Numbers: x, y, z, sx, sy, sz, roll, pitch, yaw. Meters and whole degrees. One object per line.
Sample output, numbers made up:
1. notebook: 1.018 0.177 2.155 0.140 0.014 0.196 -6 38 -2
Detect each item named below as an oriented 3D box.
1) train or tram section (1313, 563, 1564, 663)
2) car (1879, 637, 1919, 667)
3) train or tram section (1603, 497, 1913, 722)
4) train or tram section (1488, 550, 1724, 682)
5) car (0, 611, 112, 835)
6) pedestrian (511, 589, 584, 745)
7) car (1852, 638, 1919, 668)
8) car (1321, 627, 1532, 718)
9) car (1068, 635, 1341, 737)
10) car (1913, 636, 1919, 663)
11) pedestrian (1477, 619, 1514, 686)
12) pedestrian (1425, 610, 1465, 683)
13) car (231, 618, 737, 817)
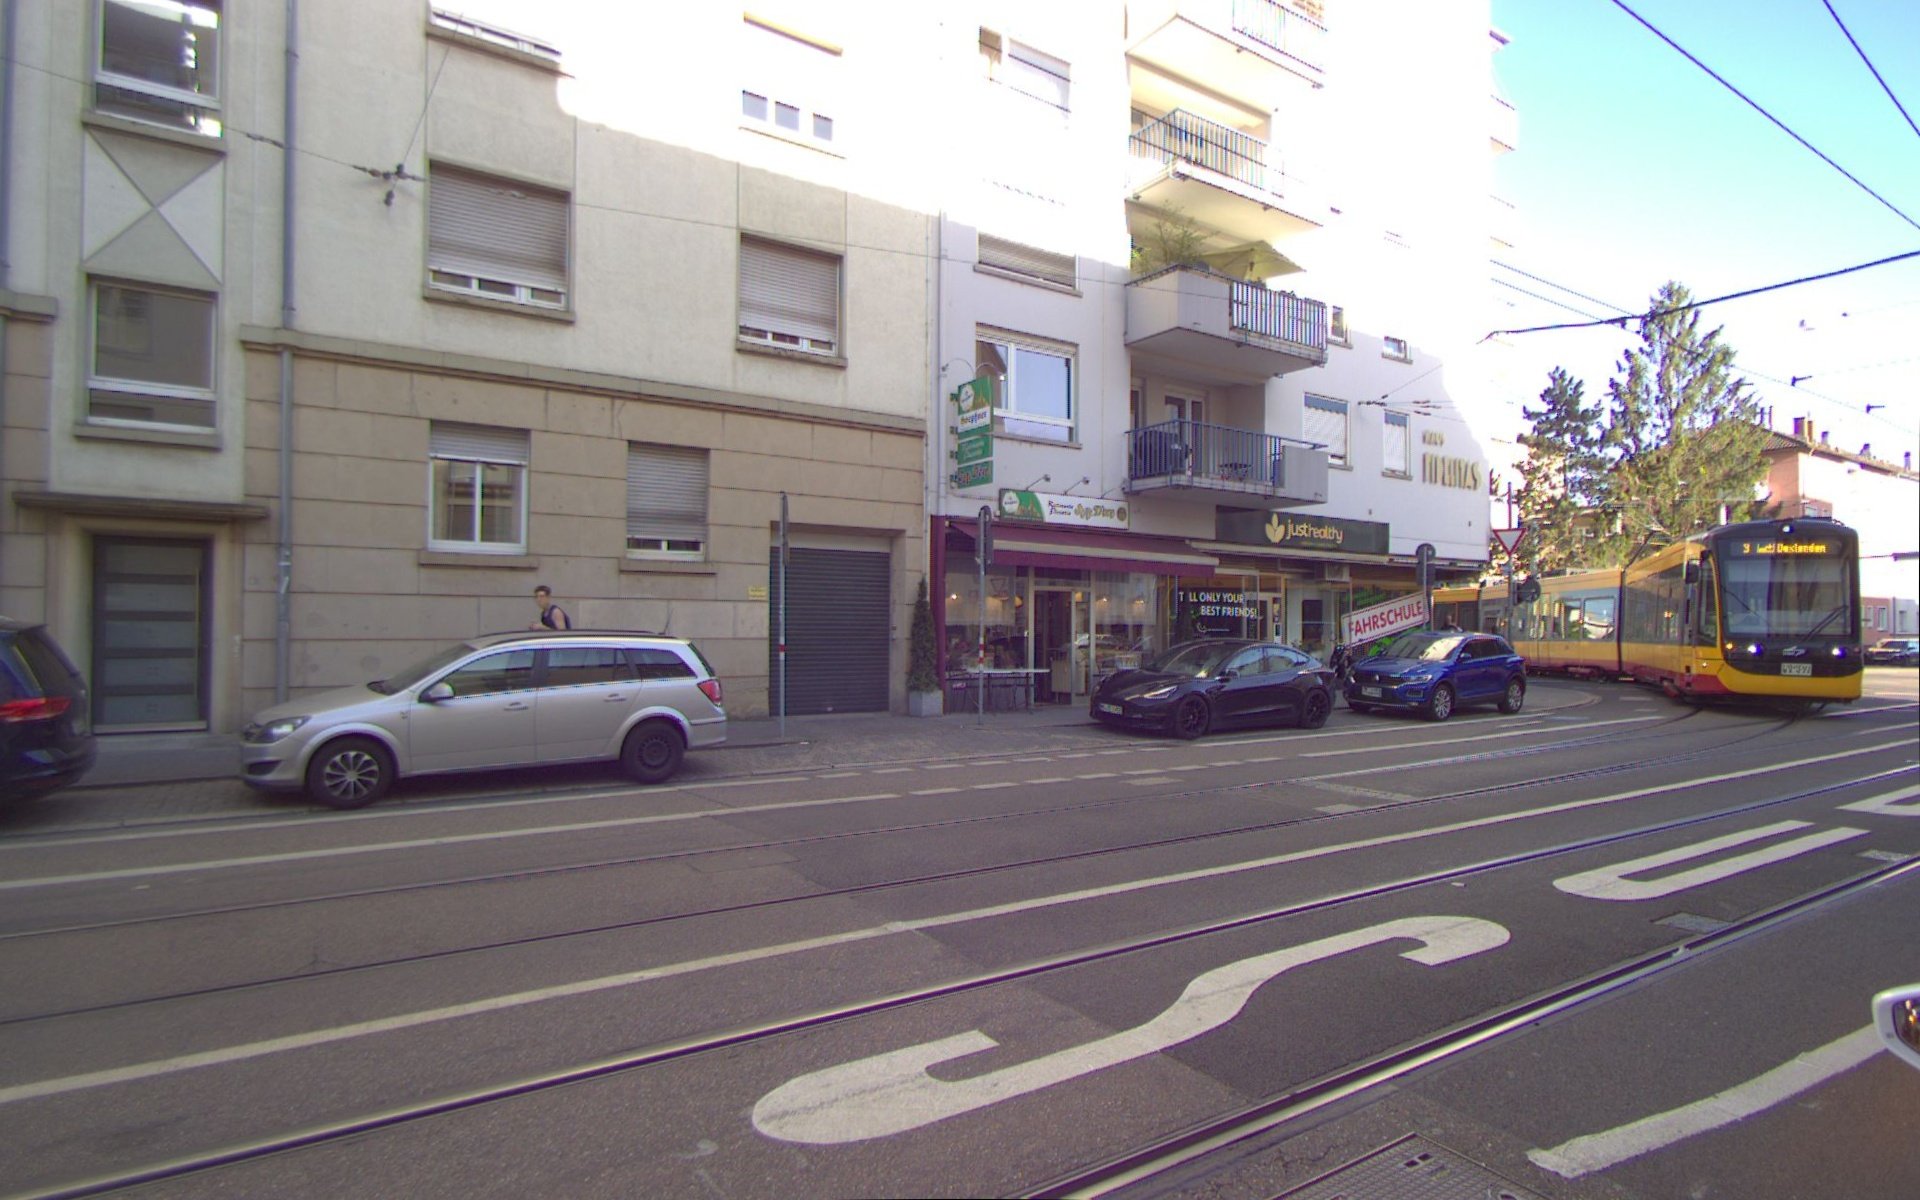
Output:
1. train or tram section: 20.474 0.495 44.816 2.703 3.680 14.246 2 0 -8
2. car: 53.279 2.884 56.049 4.250 1.518 1.806 2 0 -30
3. train or tram section: 16.916 0.362 22.529 3.015 3.641 12.616 0 -2 27
4. train or tram section: 20.680 0.467 32.993 2.777 3.679 9.089 2 0 7
5. car: -9.029 0.874 7.222 4.249 1.606 1.893 2 0 -35
6. pedestrian: -5.086 0.799 12.385 0.725 1.857 0.595 2 0 -30
7. car: 49.572 2.830 53.625 3.949 1.440 1.784 2 0 -31
8. car: 8.902 1.305 19.099 4.030 1.552 1.858 1 -2 -34
9. car: 3.981 1.277 16.085 4.382 1.405 1.810 1 -2 -34
10. car: 58.285 2.963 59.378 4.103 1.531 1.778 2 0 -31
11. pedestrian: 14.815 1.444 27.788 0.691 1.829 0.568 2 0 -30
12. pedestrian: 13.878 1.316 28.748 0.688 2.040 0.764 2 0 -35
13. car: -4.723 1.040 10.305 4.319 1.580 1.981 2 0 -34
